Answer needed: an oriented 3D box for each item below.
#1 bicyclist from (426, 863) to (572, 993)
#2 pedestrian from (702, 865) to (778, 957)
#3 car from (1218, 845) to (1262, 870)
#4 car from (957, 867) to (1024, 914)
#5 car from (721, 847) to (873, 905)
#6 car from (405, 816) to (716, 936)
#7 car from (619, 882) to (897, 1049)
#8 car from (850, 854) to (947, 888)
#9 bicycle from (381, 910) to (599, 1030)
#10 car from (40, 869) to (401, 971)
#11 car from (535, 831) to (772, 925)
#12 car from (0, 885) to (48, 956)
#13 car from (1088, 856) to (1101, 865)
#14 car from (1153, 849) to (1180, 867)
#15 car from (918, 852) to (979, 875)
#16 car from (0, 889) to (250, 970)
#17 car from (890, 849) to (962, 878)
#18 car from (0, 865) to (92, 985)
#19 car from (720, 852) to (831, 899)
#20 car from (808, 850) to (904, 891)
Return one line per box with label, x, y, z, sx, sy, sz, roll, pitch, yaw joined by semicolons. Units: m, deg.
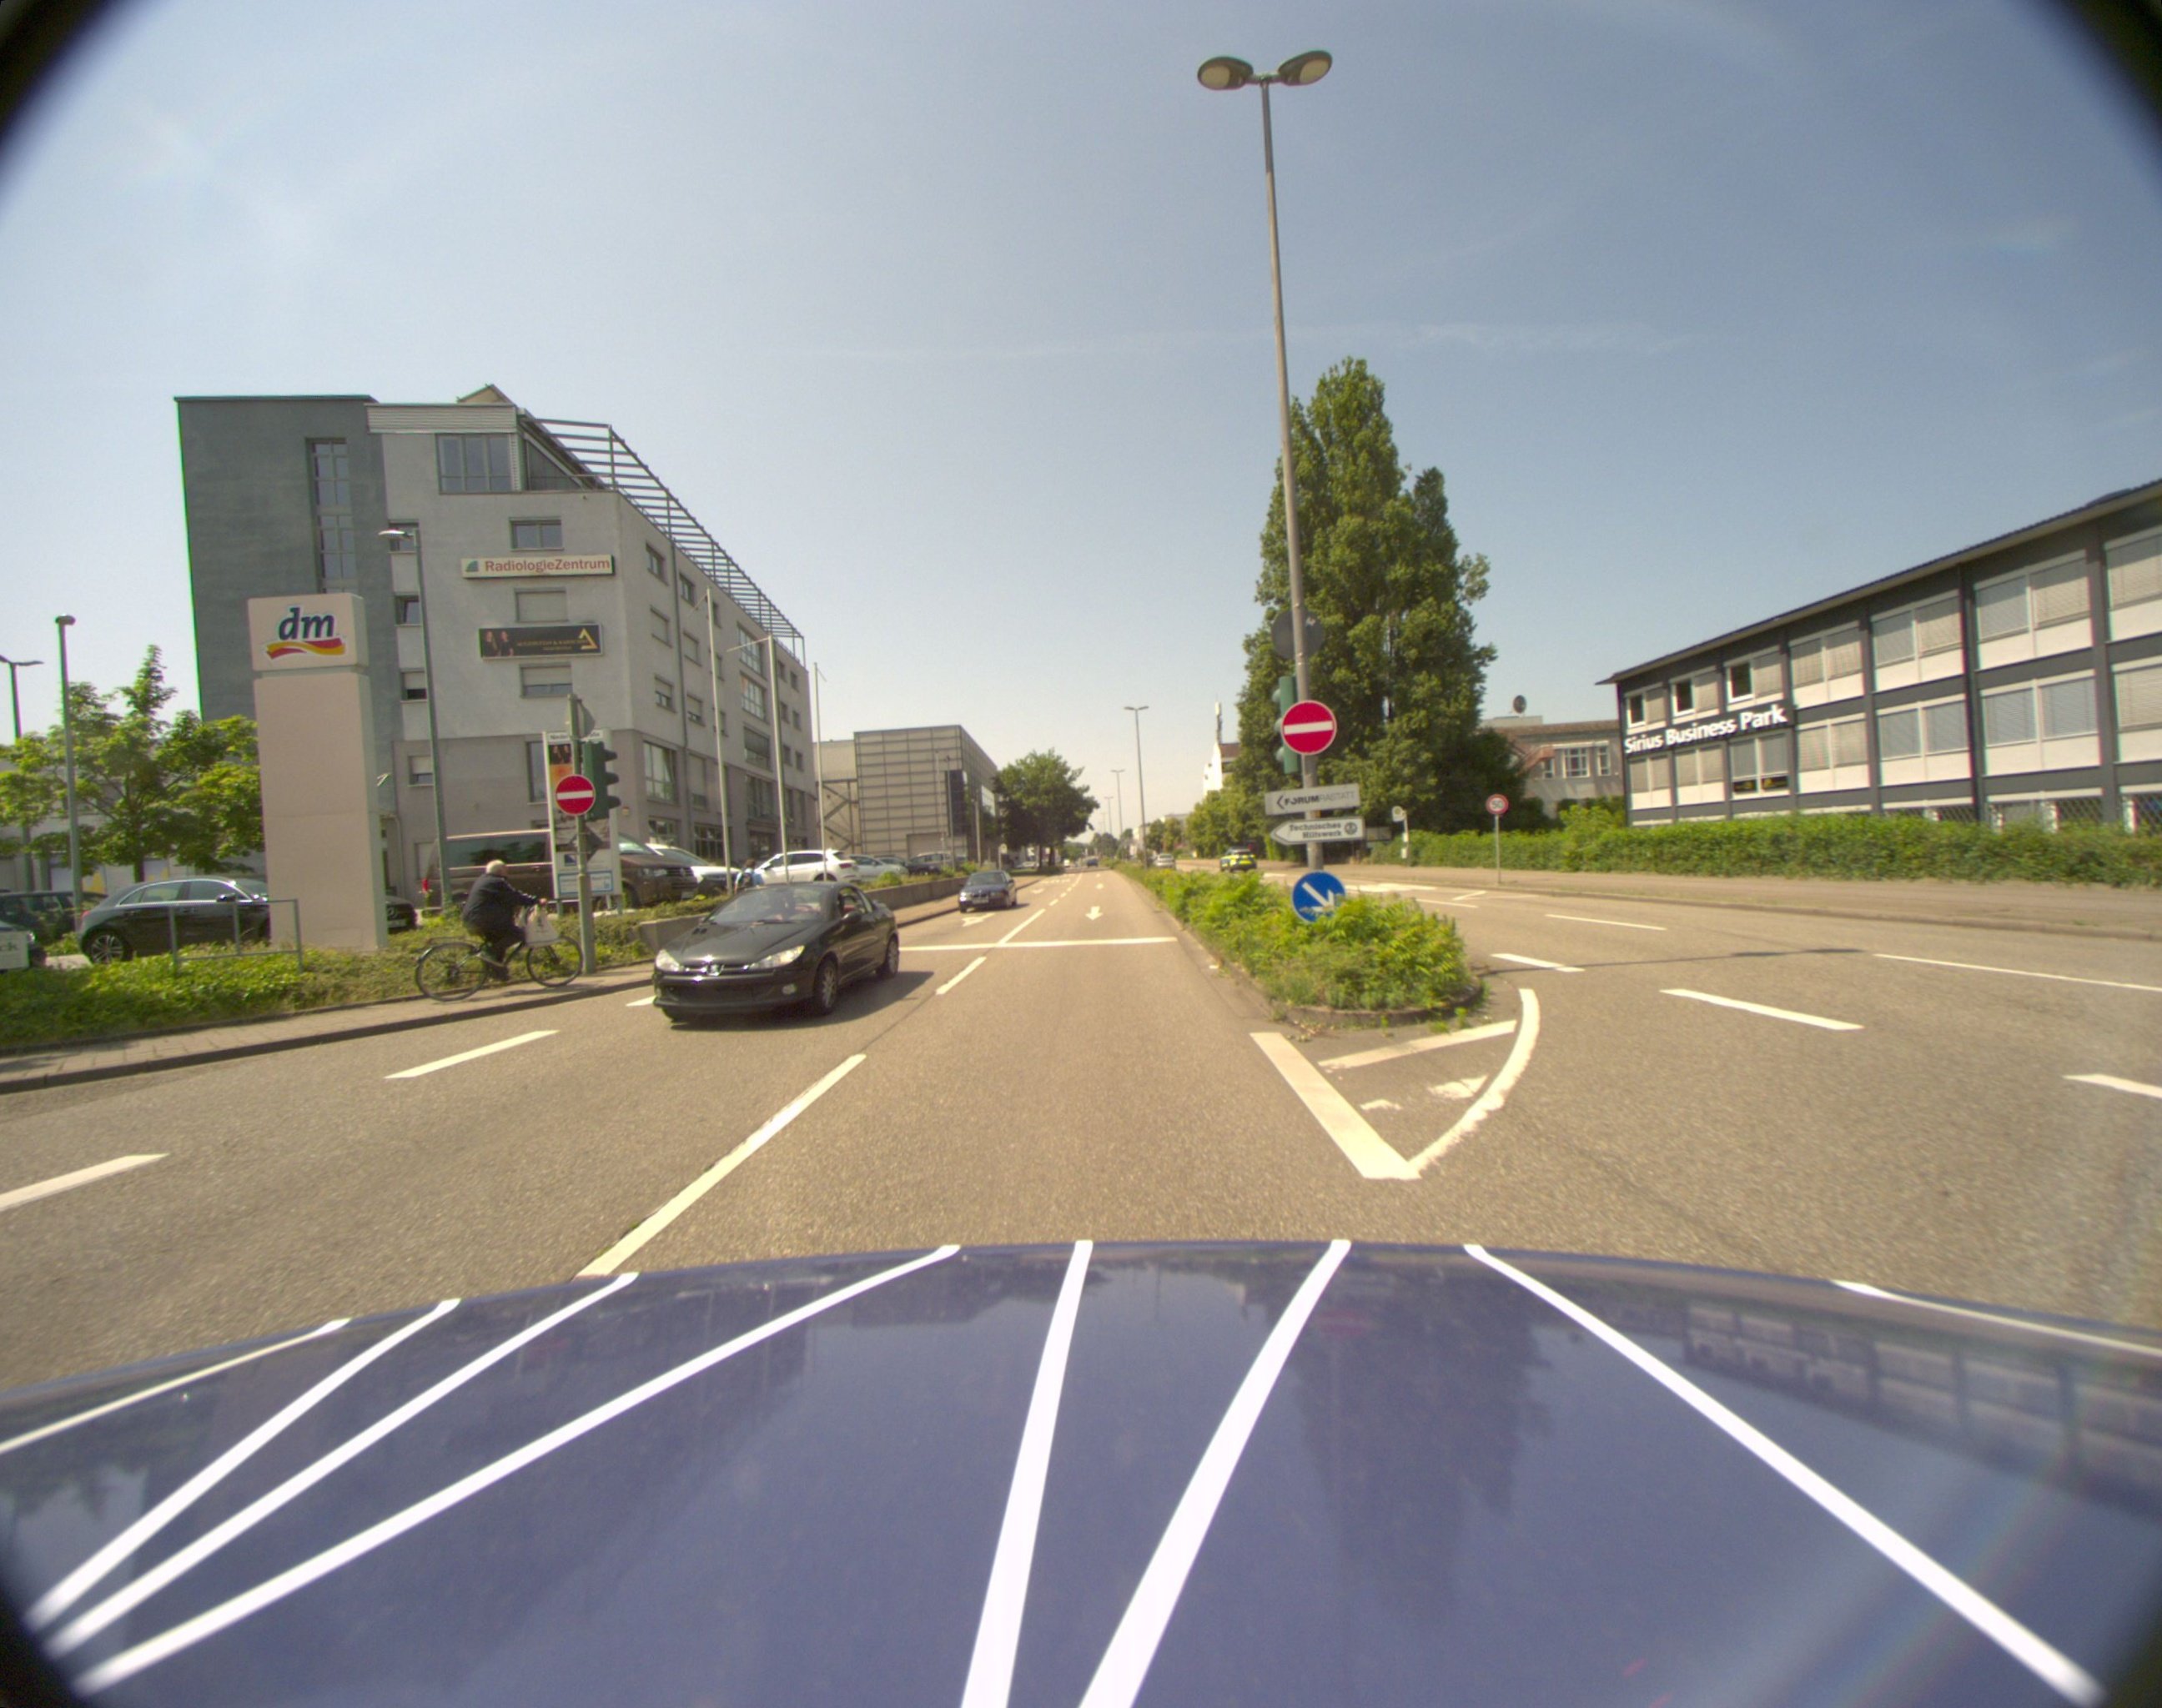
bicyclist;-7.195;0.889;9.446;0.775;1.455;1.092;-4;1;23
pedestrian;-6.494;1.059;14.520;0.830;1.616;1.005;-4;2;1
car;10.732;0.237;51.659;1.899;1.551;4.286;-2;0;-2
car;-3.115;1.227;26.953;1.711;1.316;3.955;-5;1;1
car;-9.904;0.737;26.820;4.476;1.600;2.096;-5;1;-3
car;-10.452;0.423;15.576;4.706;1.787;2.183;-6;0;1
car;-3.411;1.097;8.774;1.641;1.348;3.499;-2;0;1
car;-9.816;0.918;41.104;4.761;1.373;1.799;-5;1;-3
bicycle;-7.190;1.368;9.385;0.758;1.126;1.910;-4;1;24
car;-14.088;1.038;12.637;3.881;1.331;1.756;-3;1;-1
car;-10.181;0.529;18.350;4.421;1.690;2.000;-6;1;2
car;-26.258;1.619;16.509;1.669;1.590;4.199;-2;1;25
car;2.235;1.036;124.741;1.867;1.390;4.000;-2;0;2
car;7.445;0.296;66.745;1.764;1.410;4.090;-3;1;-1
car;-9.852;0.677;56.571;4.137;1.477;1.758;-3;1;0
car;-22.972;1.688;17.932;1.996;1.477;4.004;-2;0;15
car;-9.875;0.575;48.604;4.137;1.477;1.758;-5;1;0
car;-14.097;0.901;8.228;3.998;1.331;1.862;-3;1;-4
car;-12.874;0.917;31.967;4.512;1.598;1.917;-5;1;32
car;-10.257;0.732;34.862;4.001;1.477;1.756;-5;1;-12
